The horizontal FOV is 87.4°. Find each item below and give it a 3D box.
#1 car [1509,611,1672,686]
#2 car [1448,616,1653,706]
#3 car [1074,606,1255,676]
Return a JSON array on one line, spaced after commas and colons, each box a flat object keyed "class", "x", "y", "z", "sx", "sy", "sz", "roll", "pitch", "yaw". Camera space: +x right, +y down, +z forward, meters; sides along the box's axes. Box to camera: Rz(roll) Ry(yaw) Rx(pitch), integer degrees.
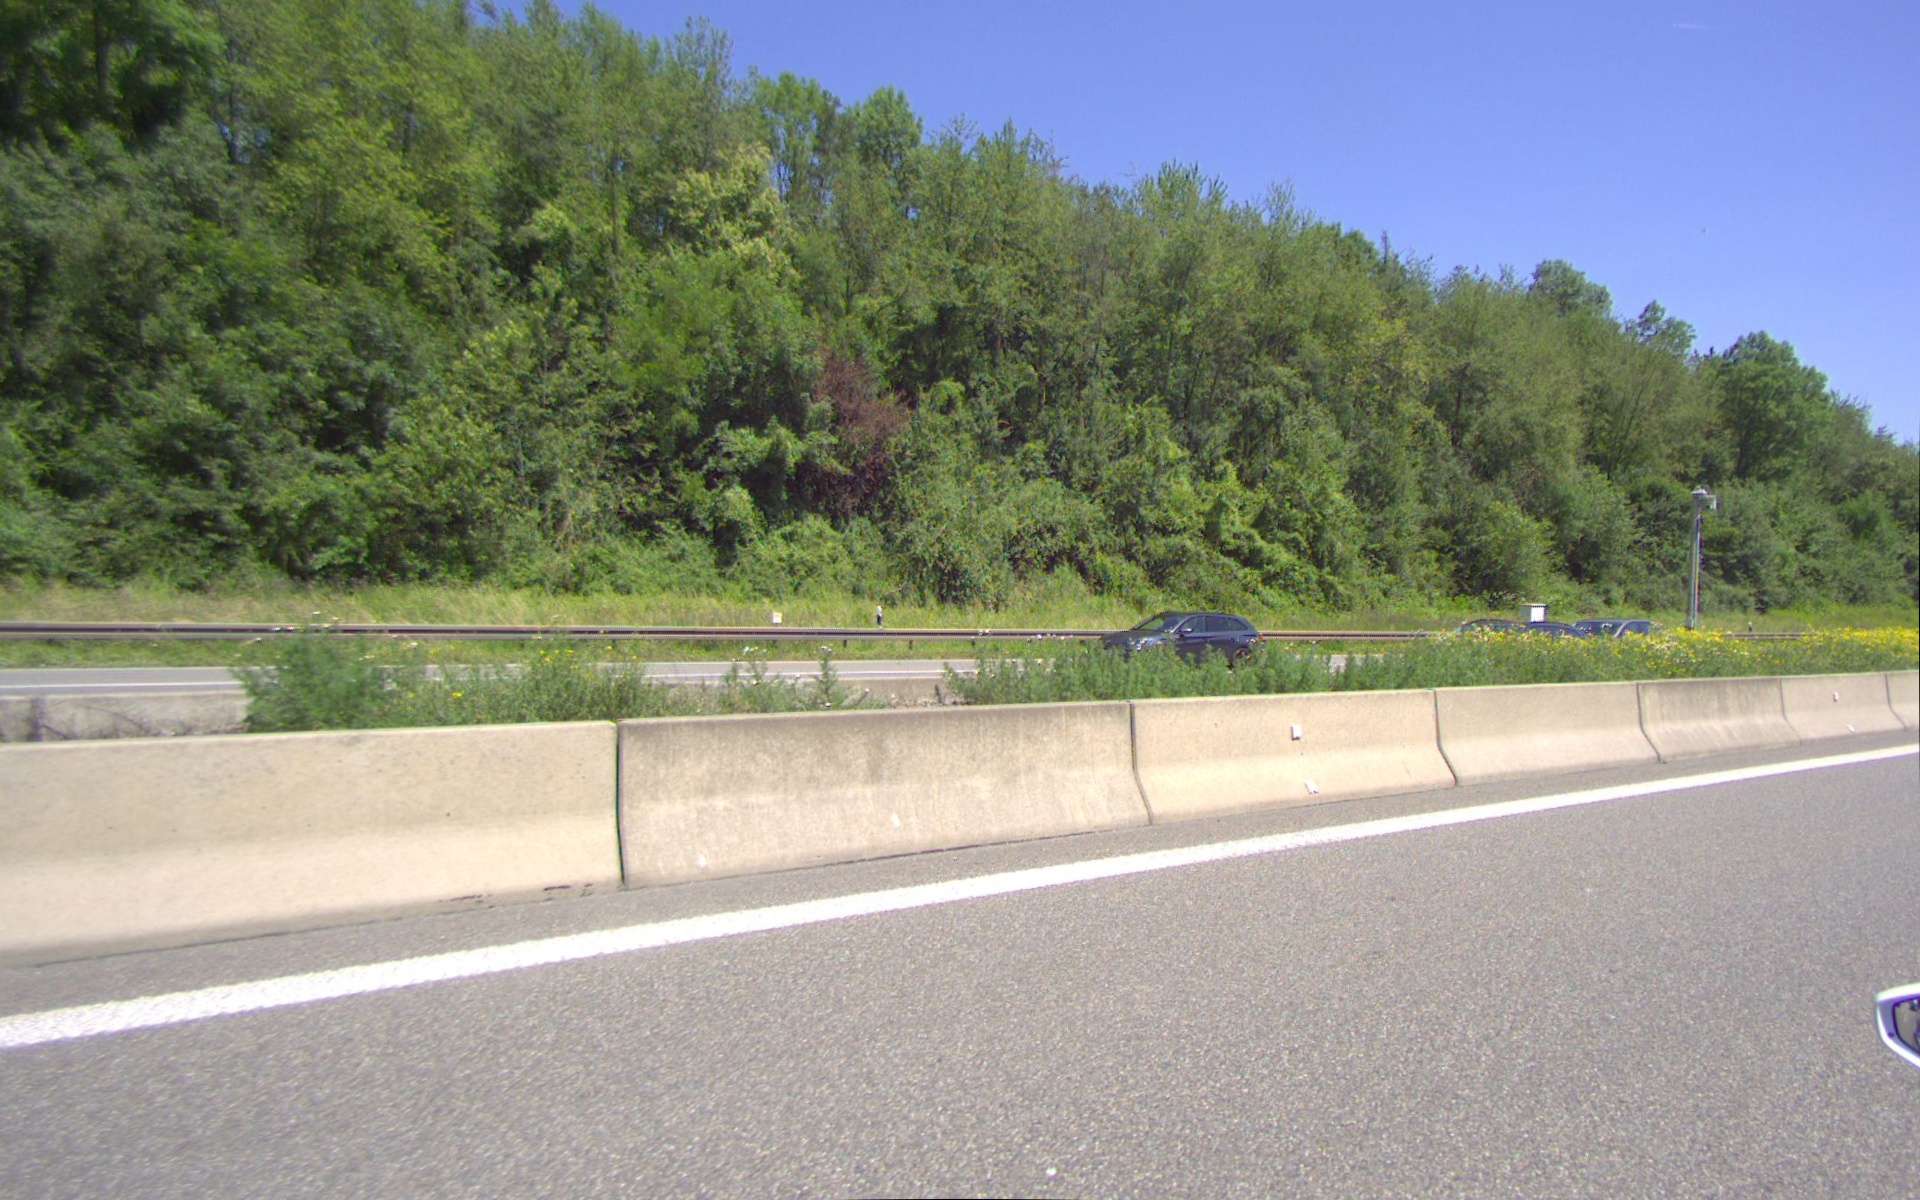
[{"class": "car", "x": 16.335, "y": 1.217, "z": 26.006, "sx": 3.954, "sy": 1.751, "sz": 1.984, "roll": 1, "pitch": 0, "yaw": -31}, {"class": "car", "x": 11.327, "y": 1.115, "z": 19.218, "sx": 3.955, "sy": 1.530, "sz": 1.752, "roll": 1, "pitch": 0, "yaw": -32}, {"class": "car", "x": 4.886, "y": 0.932, "z": 23.890, "sx": 3.955, "sy": 1.528, "sz": 1.983, "roll": 1, "pitch": 0, "yaw": -32}]
